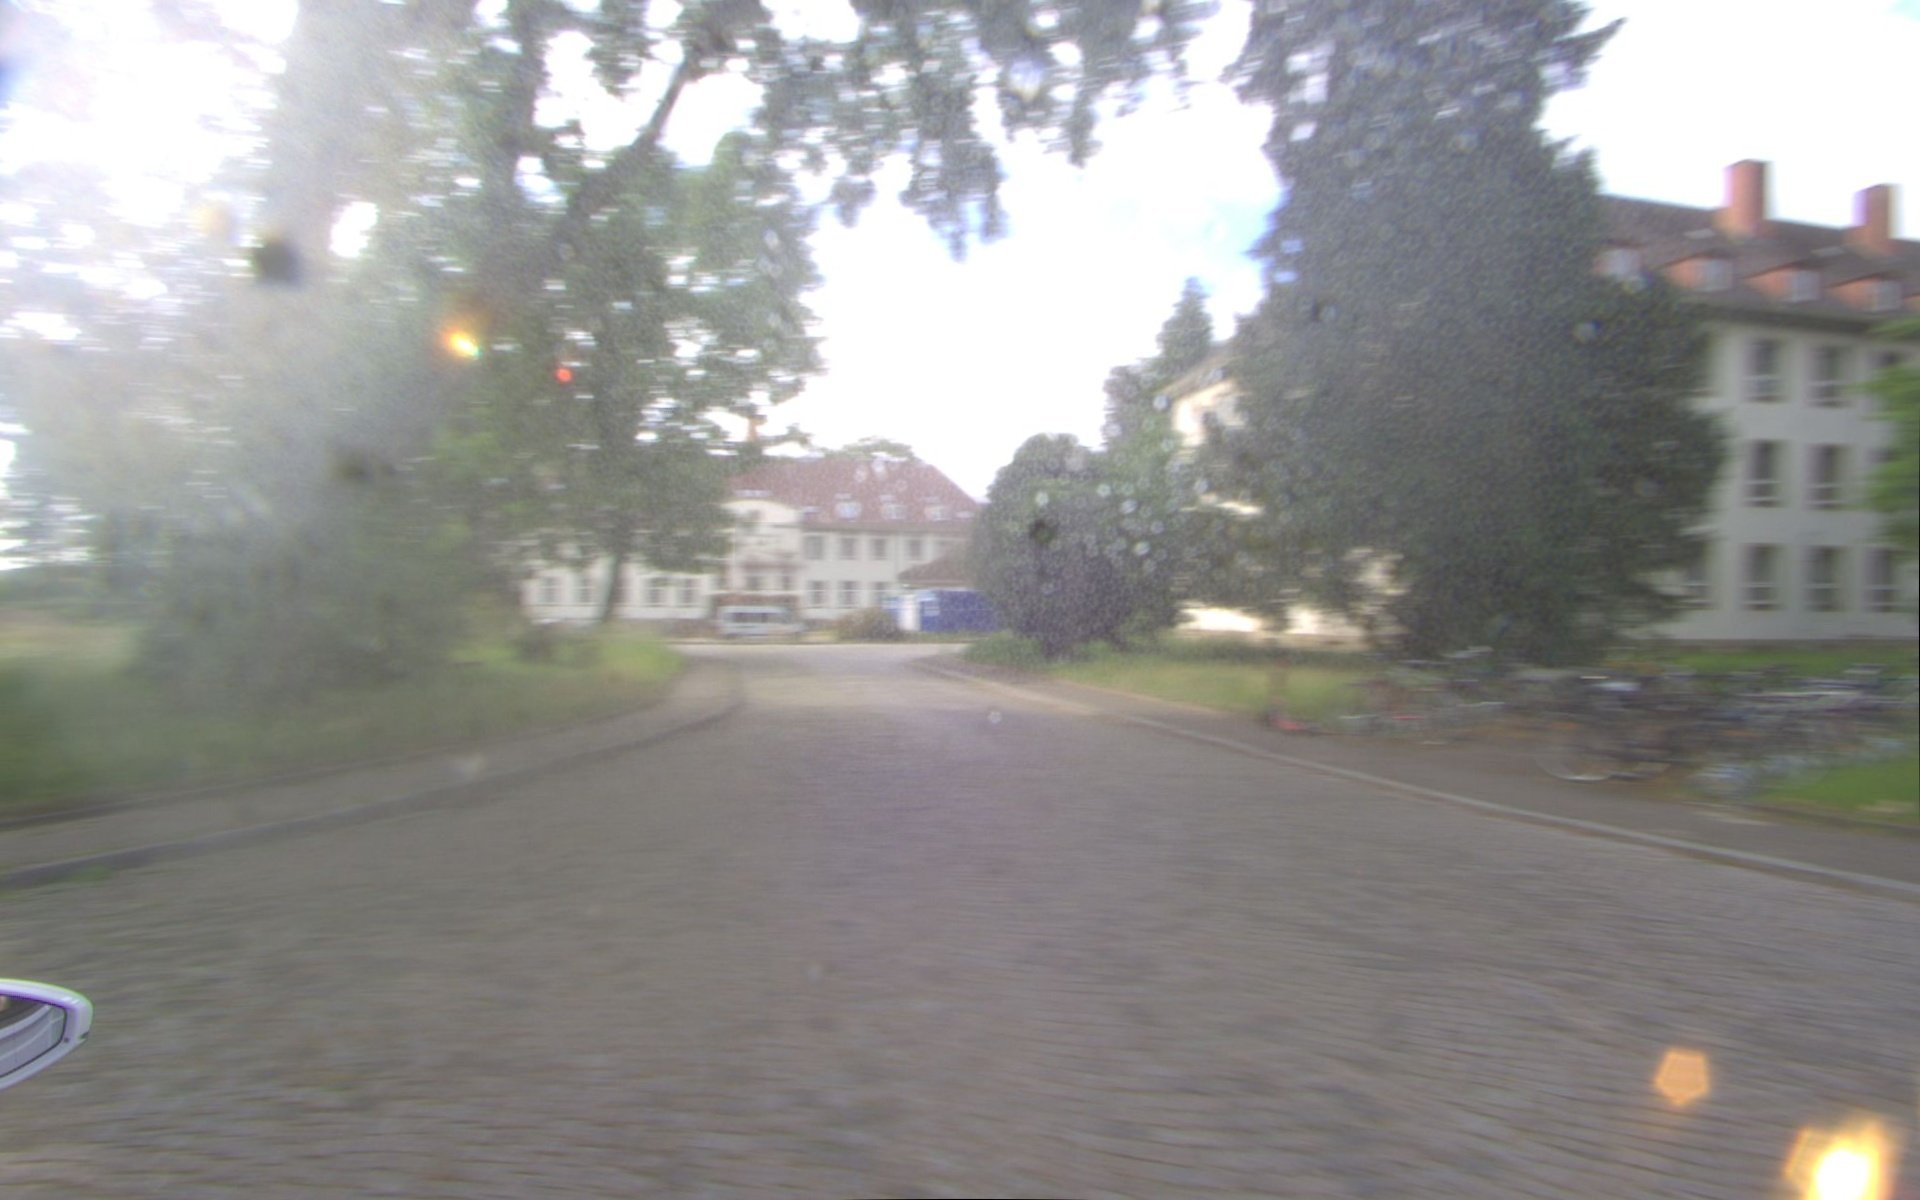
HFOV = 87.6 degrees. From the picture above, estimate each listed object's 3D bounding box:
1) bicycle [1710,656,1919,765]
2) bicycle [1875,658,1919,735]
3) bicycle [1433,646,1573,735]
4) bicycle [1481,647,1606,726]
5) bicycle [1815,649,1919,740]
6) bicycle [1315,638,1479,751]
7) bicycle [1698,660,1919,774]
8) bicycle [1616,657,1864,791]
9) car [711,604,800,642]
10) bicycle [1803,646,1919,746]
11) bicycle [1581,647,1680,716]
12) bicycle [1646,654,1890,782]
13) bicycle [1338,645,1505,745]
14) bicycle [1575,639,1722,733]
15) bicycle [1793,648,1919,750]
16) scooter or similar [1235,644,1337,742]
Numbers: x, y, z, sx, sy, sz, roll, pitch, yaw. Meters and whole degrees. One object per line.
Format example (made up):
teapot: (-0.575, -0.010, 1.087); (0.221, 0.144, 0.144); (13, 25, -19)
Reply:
bicycle: (9.464, 1.158, 10.911); (0.677, 1.018, 1.949); (-2, 0, -32)
bicycle: (12.455, 1.212, 12.363); (0.519, 0.923, 1.612); (-2, 0, -32)
bicycle: (7.473, 1.214, 13.834); (0.534, 1.088, 1.614); (-2, 1, -43)
bicycle: (8.577, 1.244, 14.754); (0.539, 1.049, 1.502); (-2, 1, -43)
bicycle: (11.766, 1.168, 12.463); (0.519, 1.073, 1.612); (-2, 0, -32)
bicycle: (5.515, 1.147, 12.752); (0.635, 1.239, 1.890); (-2, 1, -32)
bicycle: (8.812, 1.172, 10.425); (0.623, 1.014, 1.687); (-2, 0, -32)
bicycle: (7.550, 1.146, 9.779); (0.693, 1.118, 1.763); (-2, 0, -32)
car: (-13.084, 1.471, 64.140); (5.431, 2.238, 2.122); (2, 2, -14)
bicycle: (11.360, 1.145, 12.100); (0.534, 1.131, 1.692); (-2, 0, -32)
bicycle: (10.739, 1.286, 16.057); (0.428, 1.041, 1.256); (3, -3, -32)
bicycle: (8.153, 1.143, 10.189); (0.693, 1.118, 1.789); (-2, 0, -32)
bicycle: (6.026, 1.199, 13.200); (0.635, 1.129, 1.980); (-2, 1, -32)
bicycle: (9.758, 1.185, 14.241); (0.567, 1.201, 1.631); (-2, 1, -39)
bicycle: (10.960, 1.149, 11.720); (0.534, 1.119, 1.767); (-2, 0, -32)
scooter or similar: (4.400, 1.221, 13.617); (0.669, 1.210, 1.552); (0, -1, -10)
